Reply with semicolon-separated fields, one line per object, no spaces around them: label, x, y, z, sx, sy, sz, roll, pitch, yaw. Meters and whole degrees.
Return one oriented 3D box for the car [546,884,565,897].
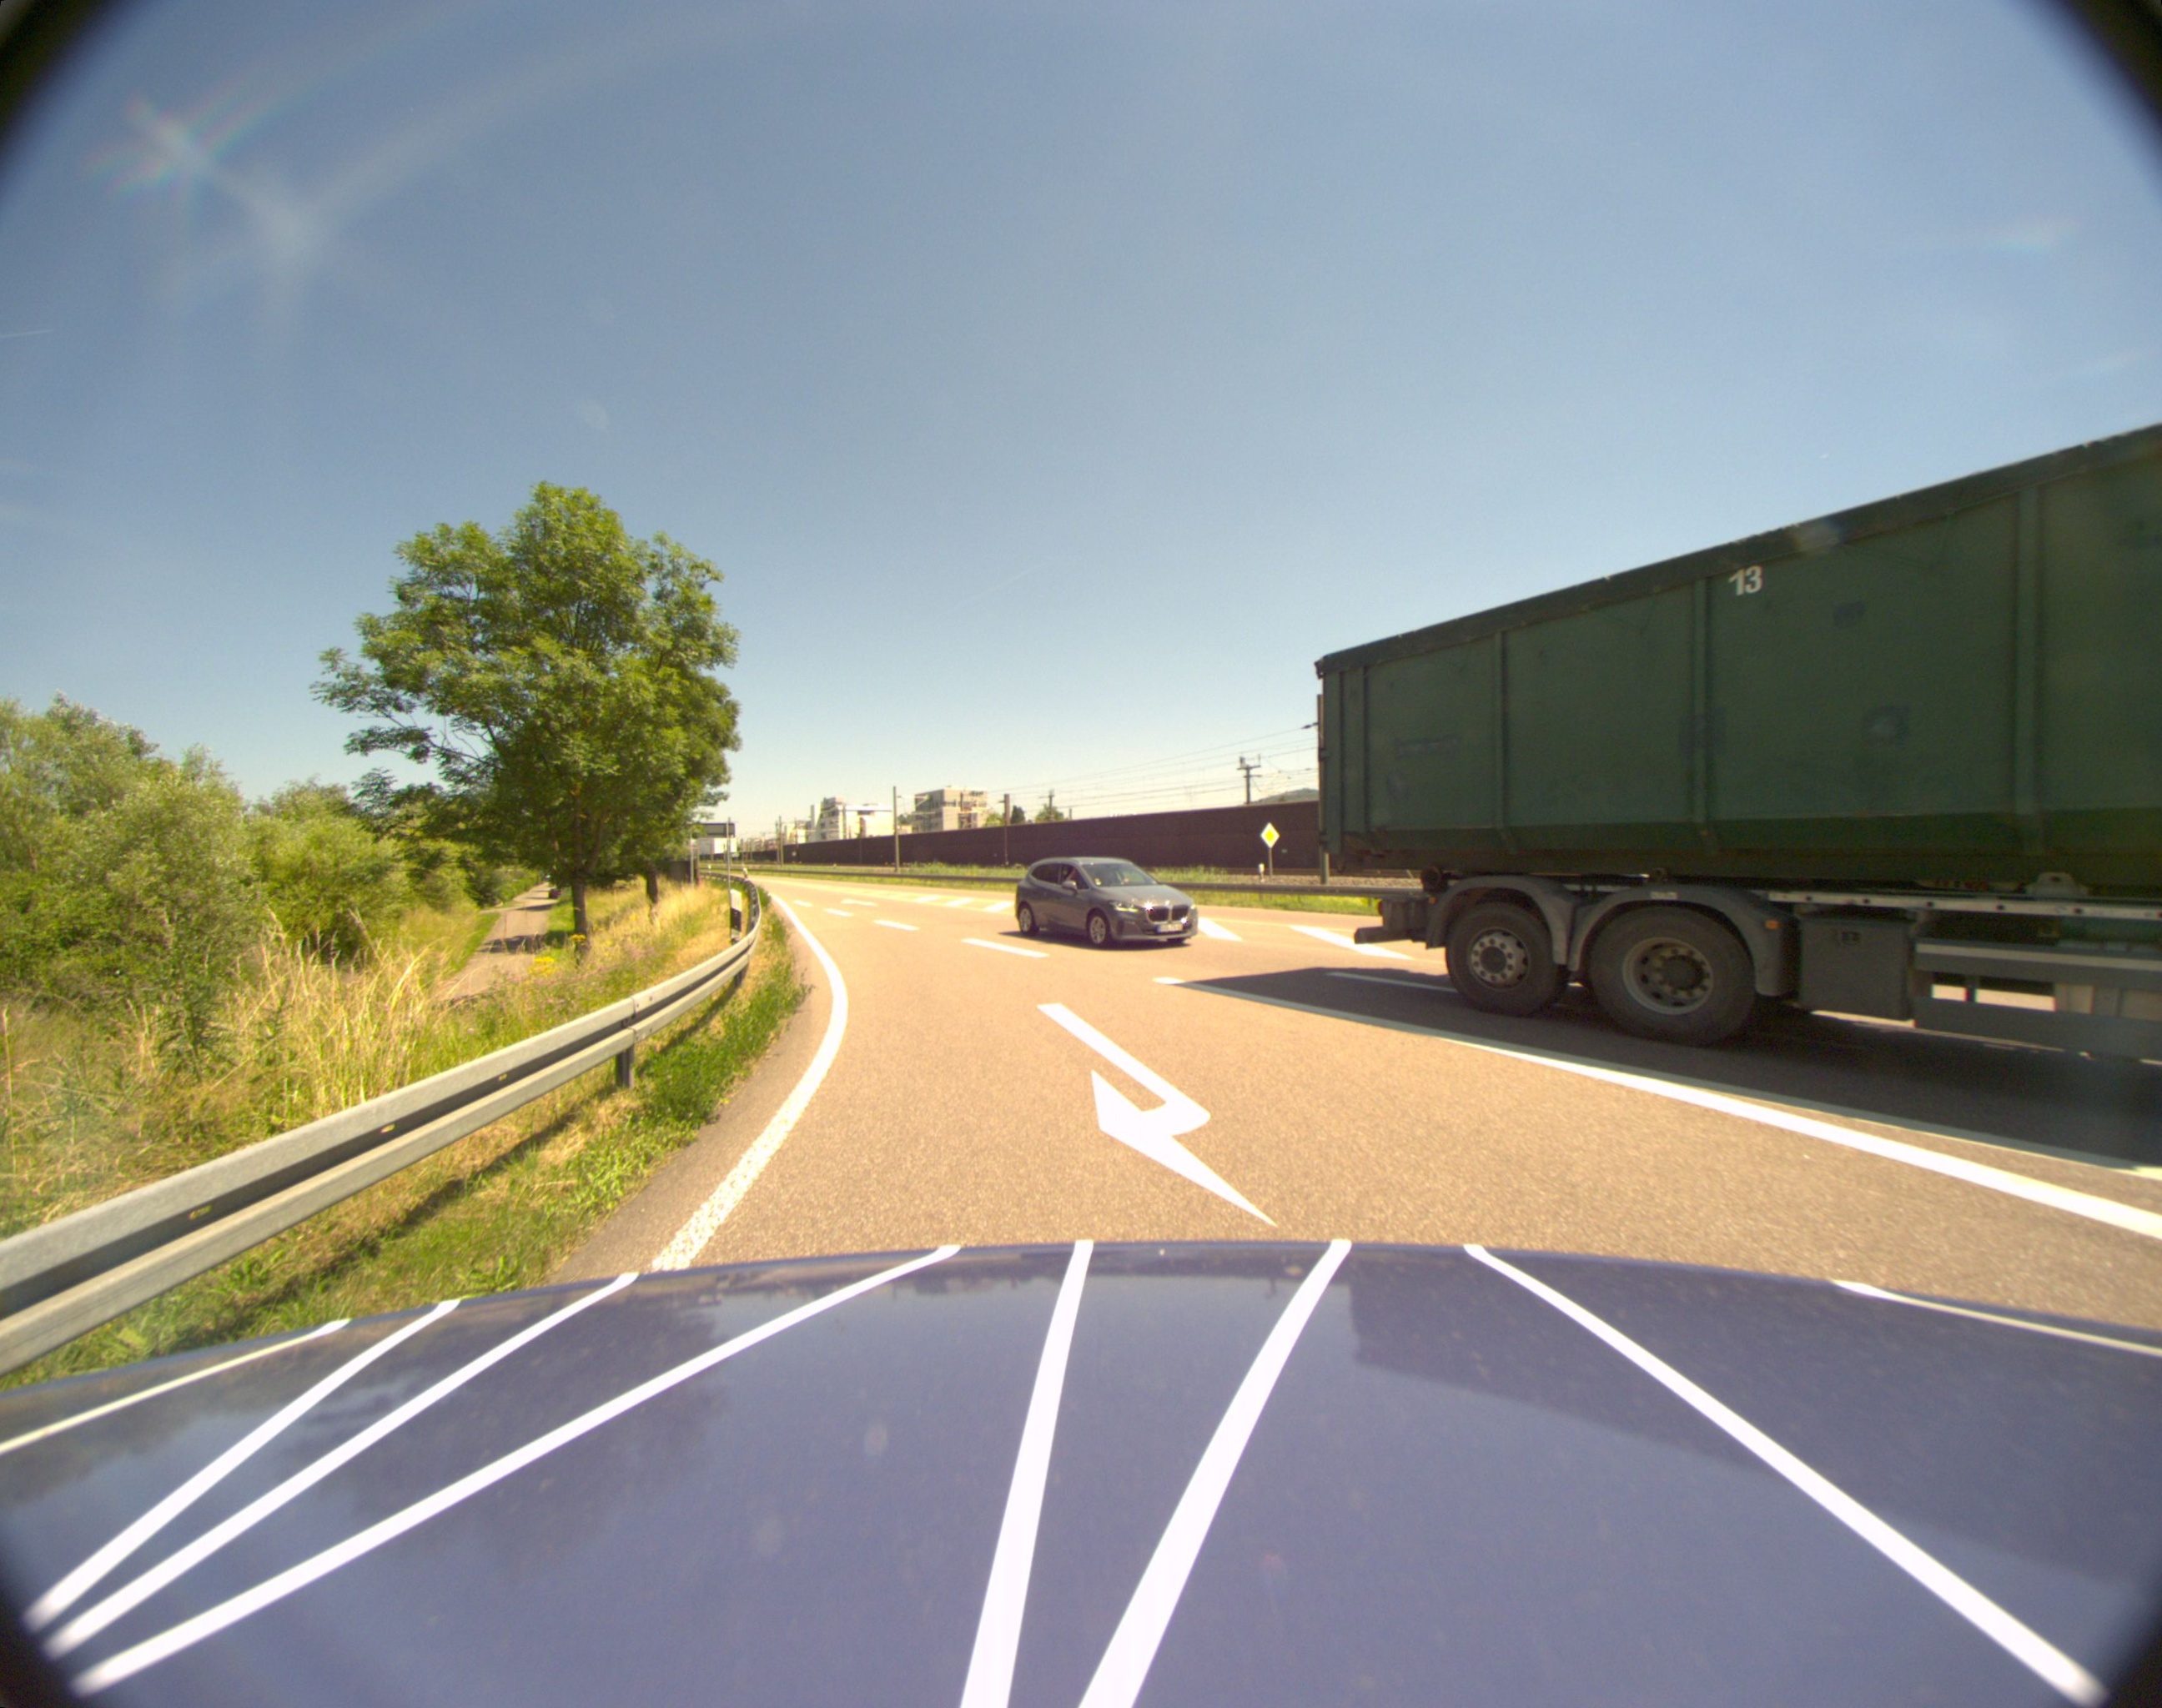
car;-73.539;5.082;106.342;2.003;1.674;3.990;-3;0;-33

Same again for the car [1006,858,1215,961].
car;0.380;0.889;14.302;1.854;1.613;4.215;-1;0;-32

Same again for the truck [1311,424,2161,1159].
truck;6.199;-0.313;5.150;2.602;3.715;9.552;-1;0;-31
